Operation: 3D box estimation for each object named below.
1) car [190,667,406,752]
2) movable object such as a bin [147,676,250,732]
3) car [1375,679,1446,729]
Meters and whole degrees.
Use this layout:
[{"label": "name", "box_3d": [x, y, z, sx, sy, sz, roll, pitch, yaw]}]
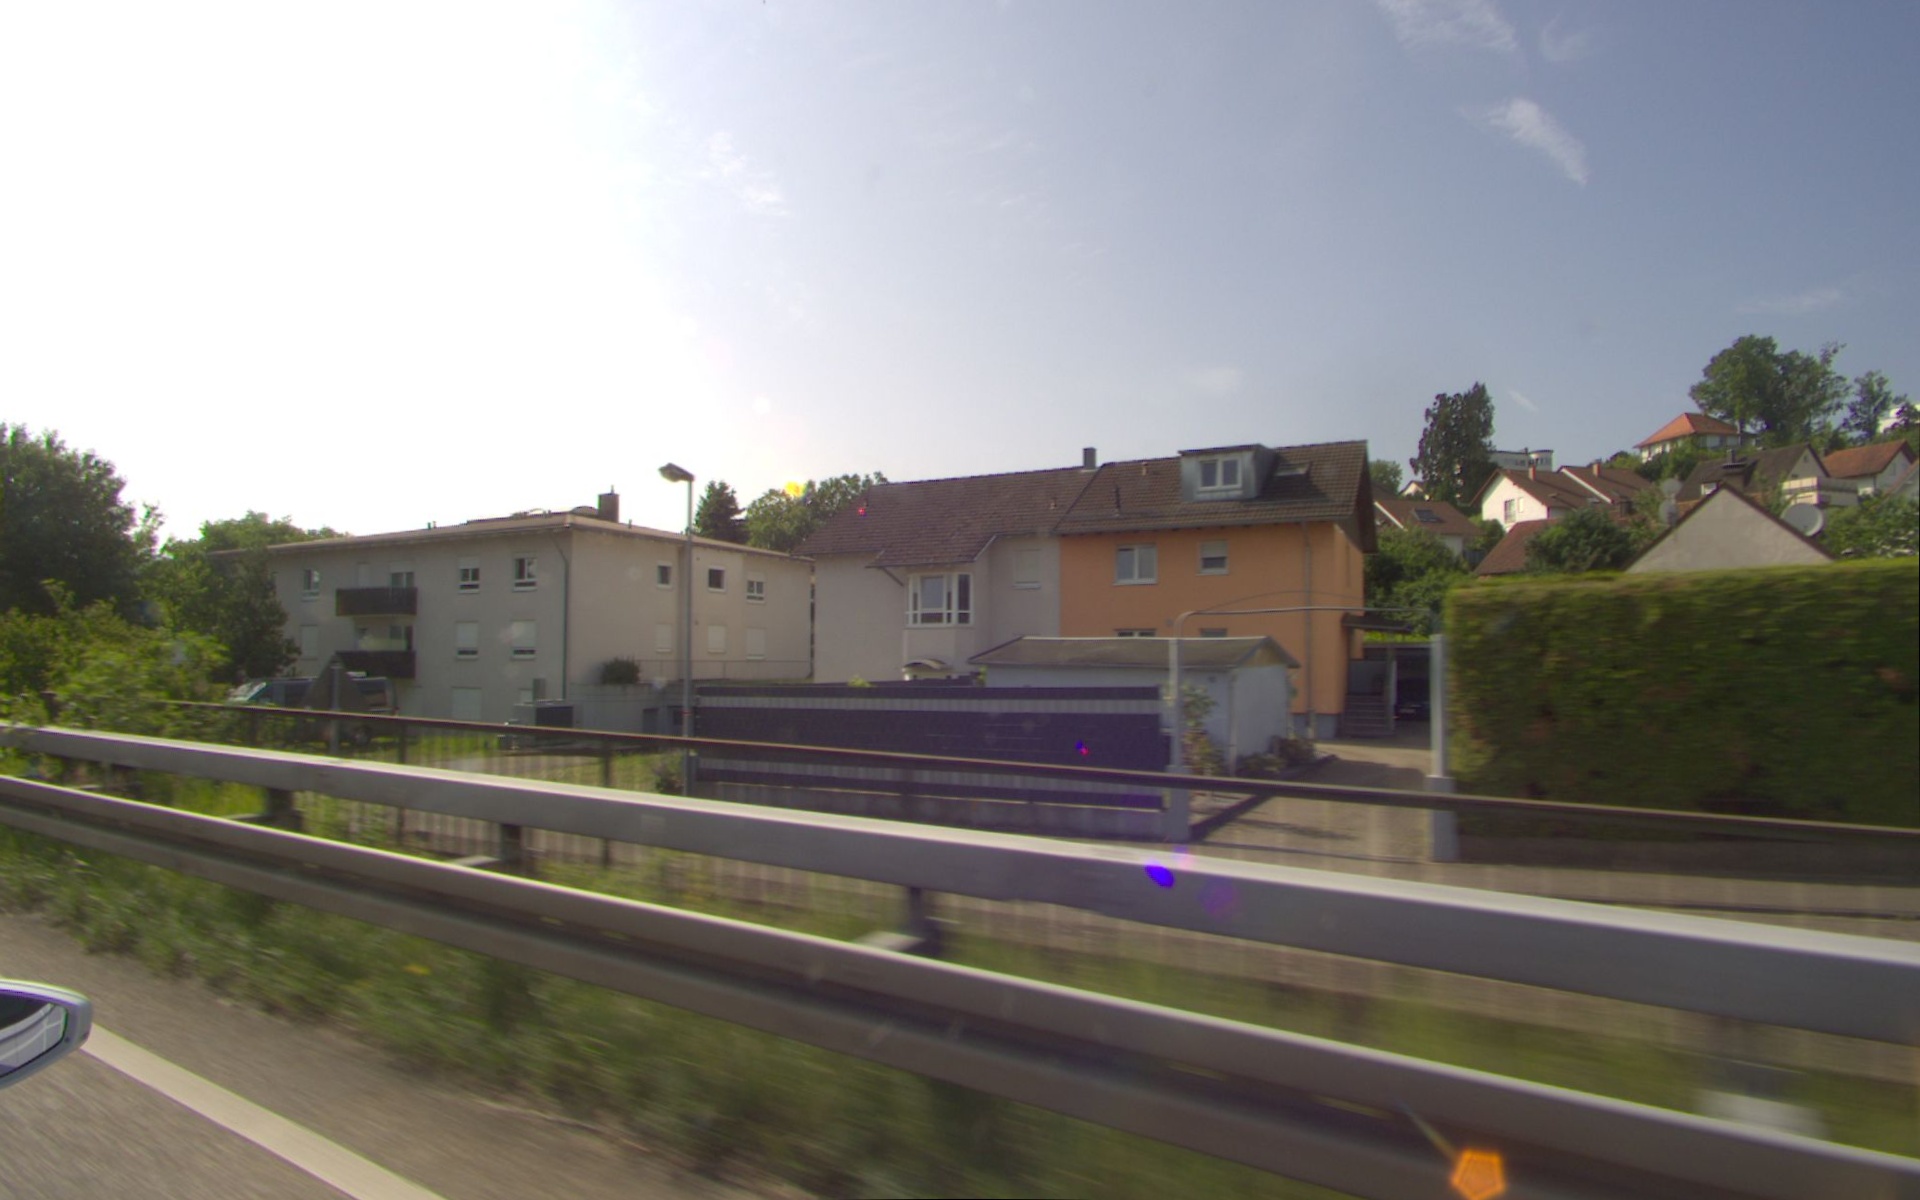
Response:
[{"label": "car", "box_3d": [-23.402, 3.815, 35.735, 2.280, 2.719, 6.067, -4, -5, 31]}, {"label": "movable object such as a bin", "box_3d": [-29.995, 4.048, 39.505, 1.564, 2.038, 2.782, 0, -3, 31]}, {"label": "car", "box_3d": [16.313, 3.703, 36.142, 1.970, 1.379, 3.982, -2, -1, 29]}]
